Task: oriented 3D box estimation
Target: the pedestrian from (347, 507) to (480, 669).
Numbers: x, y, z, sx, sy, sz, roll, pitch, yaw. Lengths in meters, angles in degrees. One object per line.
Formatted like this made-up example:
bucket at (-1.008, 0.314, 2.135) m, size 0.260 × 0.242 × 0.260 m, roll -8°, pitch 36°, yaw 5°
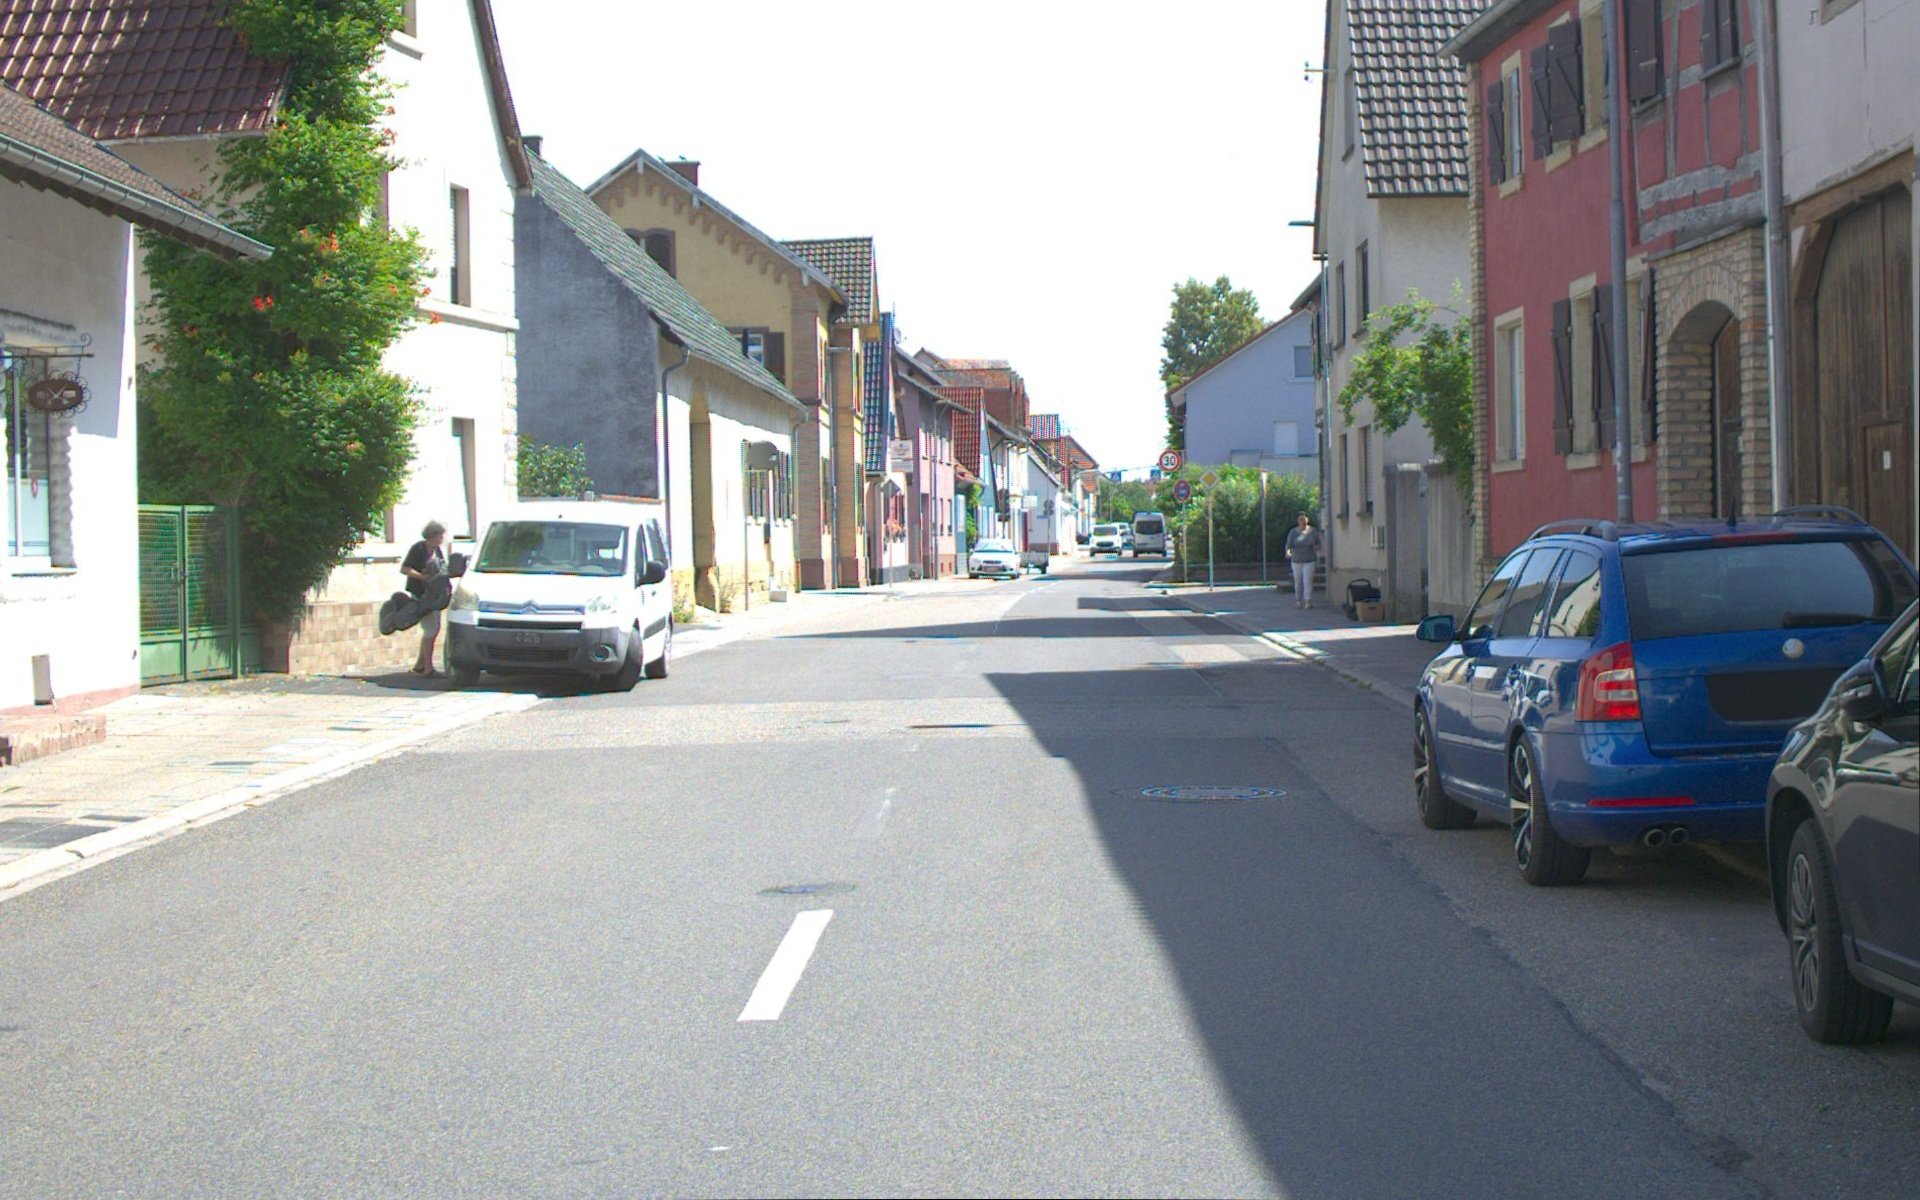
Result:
pedestrian at (-5.348, -0.129, 33.722) m, size 1.136 × 1.546 × 1.017 m, roll -1°, pitch 1°, yaw -1°

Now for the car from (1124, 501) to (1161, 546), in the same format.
car at (10.788, -4.557, 203.789) m, size 2.017 × 2.559 × 4.000 m, roll -2°, pitch 1°, yaw 2°

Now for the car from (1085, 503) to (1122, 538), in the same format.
car at (9.015, -4.996, 215.939) m, size 2.158 × 2.072 × 4.000 m, roll -2°, pitch 0°, yaw 1°

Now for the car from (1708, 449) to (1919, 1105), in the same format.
car at (3.130, 0.394, 8.268) m, size 1.699 × 1.578 × 4.028 m, roll -2°, pitch 2°, yaw 0°

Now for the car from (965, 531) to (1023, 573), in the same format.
car at (1.288, -1.801, 127.991) m, size 1.994 × 1.437 × 4.000 m, roll -2°, pitch 1°, yaw 2°

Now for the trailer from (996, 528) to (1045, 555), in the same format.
trailer at (2.552, -2.466, 144.741) m, size 1.993 × 1.086 × 4.000 m, roll -1°, pitch 2°, yaw 1°

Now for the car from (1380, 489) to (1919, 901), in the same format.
car at (3.014, 0.291, 14.934) m, size 1.698 × 1.464 × 4.411 m, roll -2°, pitch 2°, yaw -1°

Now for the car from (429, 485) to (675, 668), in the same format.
car at (-3.887, -0.270, 33.414) m, size 1.855 × 1.641 × 4.430 m, roll -1°, pitch 2°, yaw 0°

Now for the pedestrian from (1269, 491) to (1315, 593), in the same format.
pedestrian at (5.450, -0.958, 56.398) m, size 0.719 × 1.658 × 0.892 m, roll -1°, pitch 1°, yaw 6°
